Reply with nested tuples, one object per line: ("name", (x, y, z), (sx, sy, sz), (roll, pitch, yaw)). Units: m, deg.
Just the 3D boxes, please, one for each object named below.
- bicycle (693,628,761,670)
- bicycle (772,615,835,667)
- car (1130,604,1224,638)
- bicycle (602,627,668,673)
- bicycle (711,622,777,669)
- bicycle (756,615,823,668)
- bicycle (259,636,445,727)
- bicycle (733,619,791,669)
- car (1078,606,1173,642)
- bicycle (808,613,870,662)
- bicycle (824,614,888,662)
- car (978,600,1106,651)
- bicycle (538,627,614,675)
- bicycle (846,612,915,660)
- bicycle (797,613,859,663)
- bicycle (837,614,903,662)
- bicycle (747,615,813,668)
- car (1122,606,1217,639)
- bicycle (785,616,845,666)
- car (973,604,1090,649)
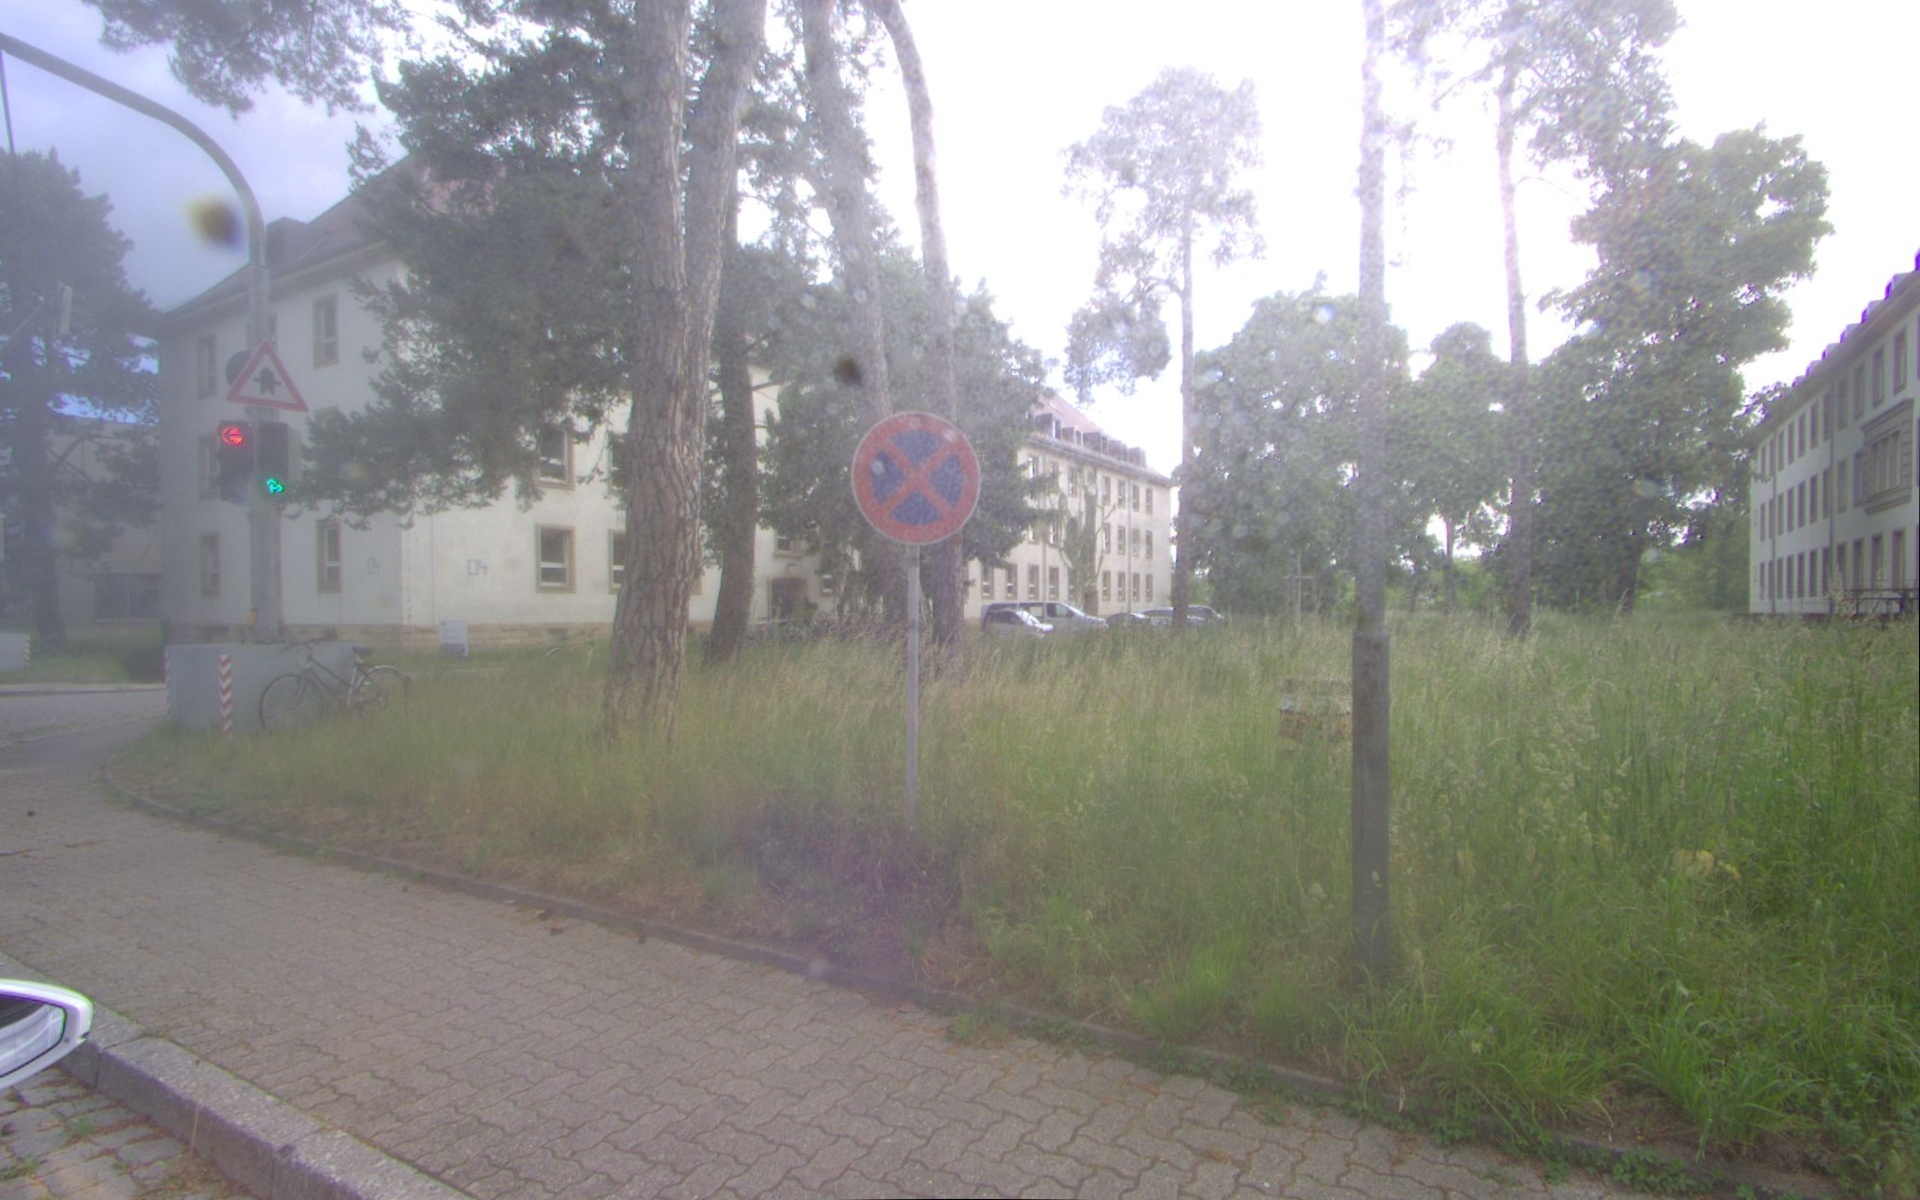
("bicycle", (-5.706, 1.179, 24.453), (1.877, 0.961, 0.539), (0, 0, 37))
("bicycle", (-4.227, 1.087, 26.938), (1.895, 1.337, 0.504), (0, 0, 37))
("car", (11.856, 1.132, 54.804), (4.629, 1.796, 1.989), (0, 0, 33))
("bicycle", (-7.742, 1.179, 23.909), (0.535, 1.028, 1.534), (0, 0, 31))
("bicycle", (-5.409, 1.127, 25.037), (1.877, 1.116, 0.539), (0, 0, 37))
("bicycle", (-4.516, 1.069, 26.425), (1.950, 1.337, 0.574), (0, 0, 37))
("bicycle", (-6.675, 0.860, 11.079), (0.564, 0.886, 1.697), (0, 0, 32))
("bicycle", (-5.047, 1.099, 25.492), (1.618, 1.231, 0.539), (0, 0, 37))
("car", (7.745, 1.096, 46.979), (3.943, 1.639, 1.989), (0, -1, 33))
("bicycle", (-3.436, 1.050, 28.316), (1.913, 1.337, 0.551), (0, 0, 37))
("bicycle", (-2.991, 1.068, 28.702), (1.989, 1.337, 0.538), (0, 0, 37))
("car", (3.313, 0.991, 40.062), (4.774, 1.935, 2.237), (0, 0, 17))
("bicycle", (-8.543, 1.118, 22.339), (0.522, 0.993, 1.618), (0, 0, 31))
("bicycle", (-2.369, 1.059, 29.819), (2.075, 1.385, 0.755), (0, 0, 37))
("bicycle", (-3.668, 1.035, 27.743), (1.829, 1.337, 0.553), (0, 0, 37))
("bicycle", (-2.639, 1.083, 29.151), (2.104, 1.337, 0.553), (0, 0, 37))
("bicycle", (-4.651, 1.051, 25.839), (2.021, 1.337, 0.436), (0, 0, 37))
("car", (10.798, 1.160, 51.703), (4.452, 1.639, 1.989), (0, -1, 33))
("bicycle", (-3.969, 1.098, 27.307), (1.893, 1.337, 0.390), (0, 0, 37))
("car", (2.588, 0.949, 36.534), (3.877, 1.550, 1.852), (0, 0, 34))
